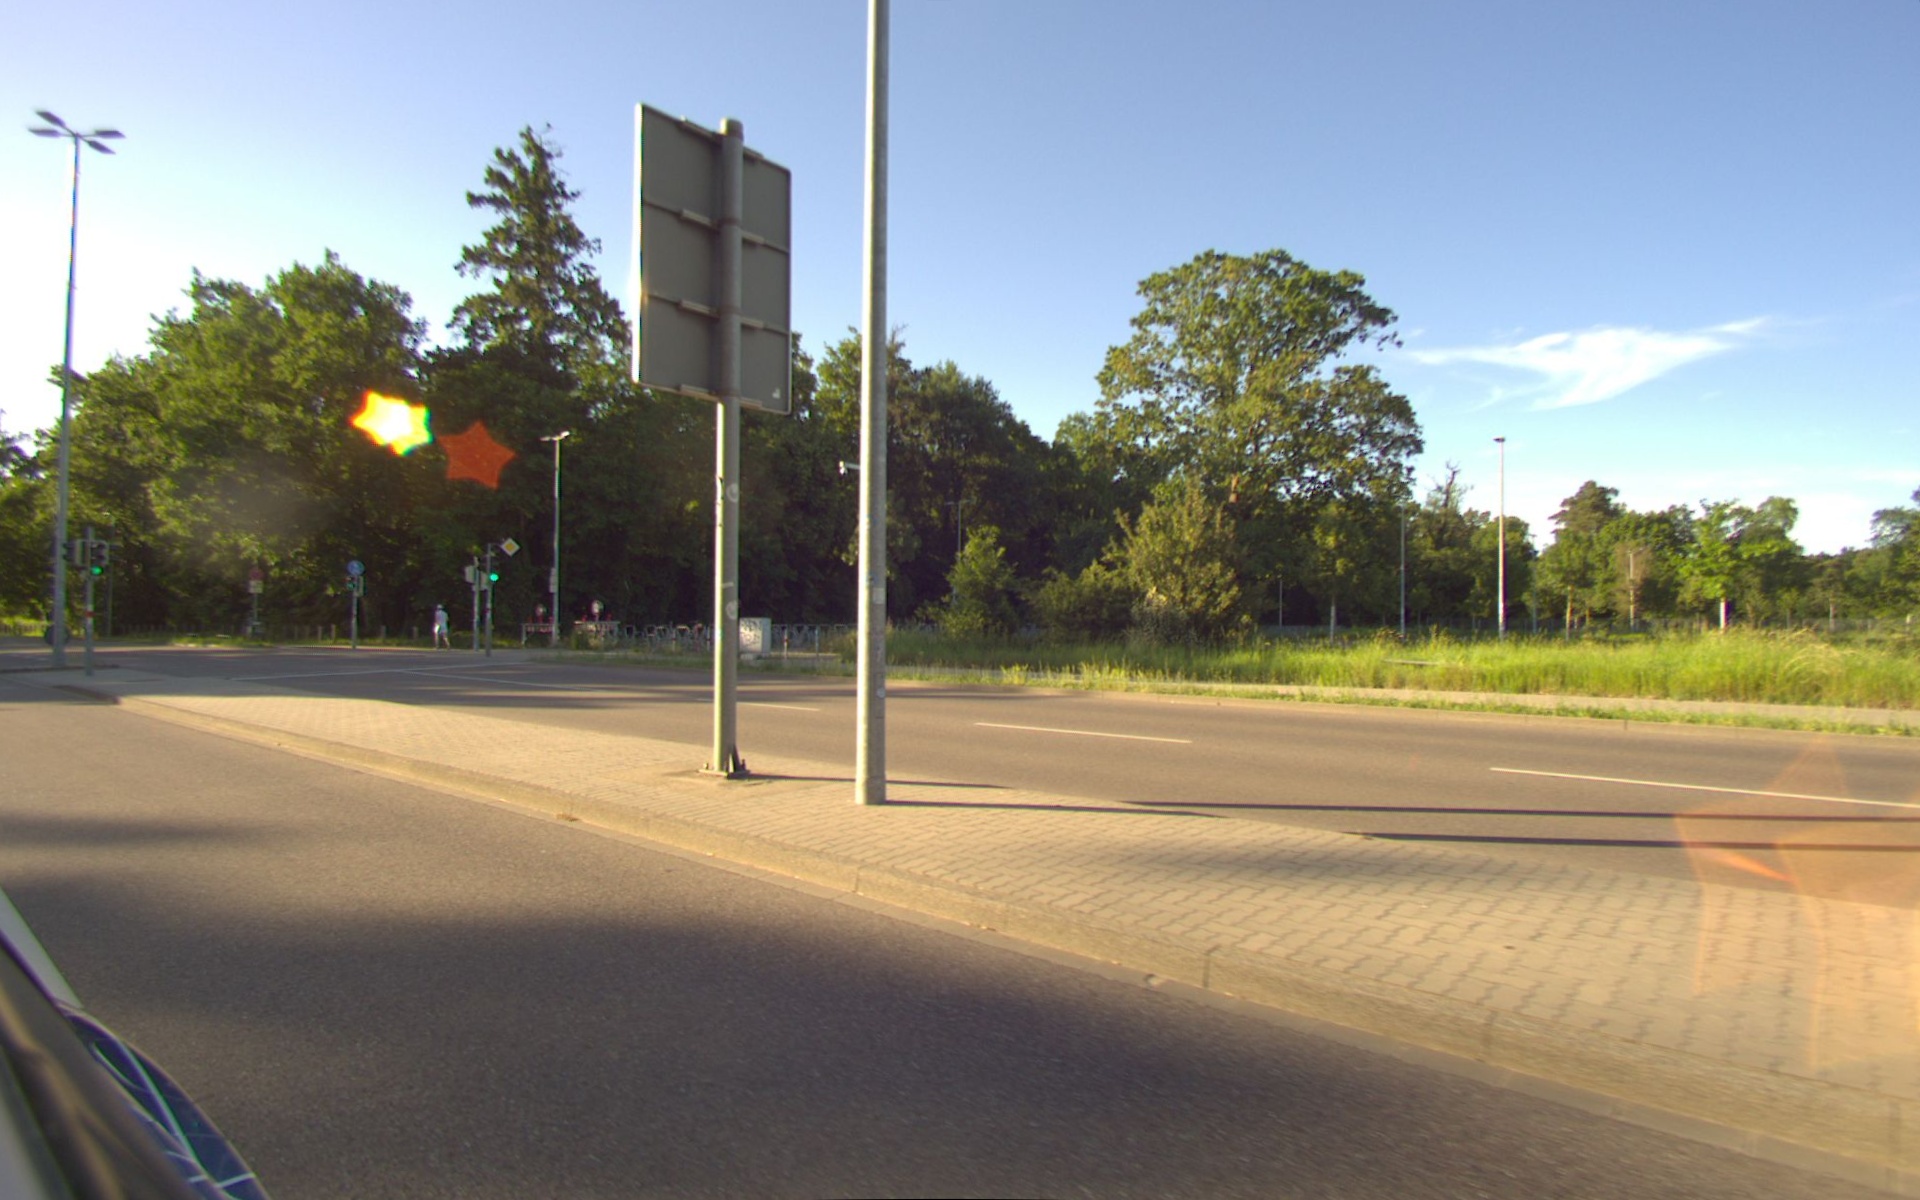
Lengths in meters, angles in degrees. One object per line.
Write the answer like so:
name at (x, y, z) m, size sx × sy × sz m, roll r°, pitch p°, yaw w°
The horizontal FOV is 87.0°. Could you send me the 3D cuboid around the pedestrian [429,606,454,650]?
pedestrian at (-21.226, 1.139, 41.392) m, size 0.734 × 1.788 × 0.682 m, roll -2°, pitch -3°, yaw 44°
